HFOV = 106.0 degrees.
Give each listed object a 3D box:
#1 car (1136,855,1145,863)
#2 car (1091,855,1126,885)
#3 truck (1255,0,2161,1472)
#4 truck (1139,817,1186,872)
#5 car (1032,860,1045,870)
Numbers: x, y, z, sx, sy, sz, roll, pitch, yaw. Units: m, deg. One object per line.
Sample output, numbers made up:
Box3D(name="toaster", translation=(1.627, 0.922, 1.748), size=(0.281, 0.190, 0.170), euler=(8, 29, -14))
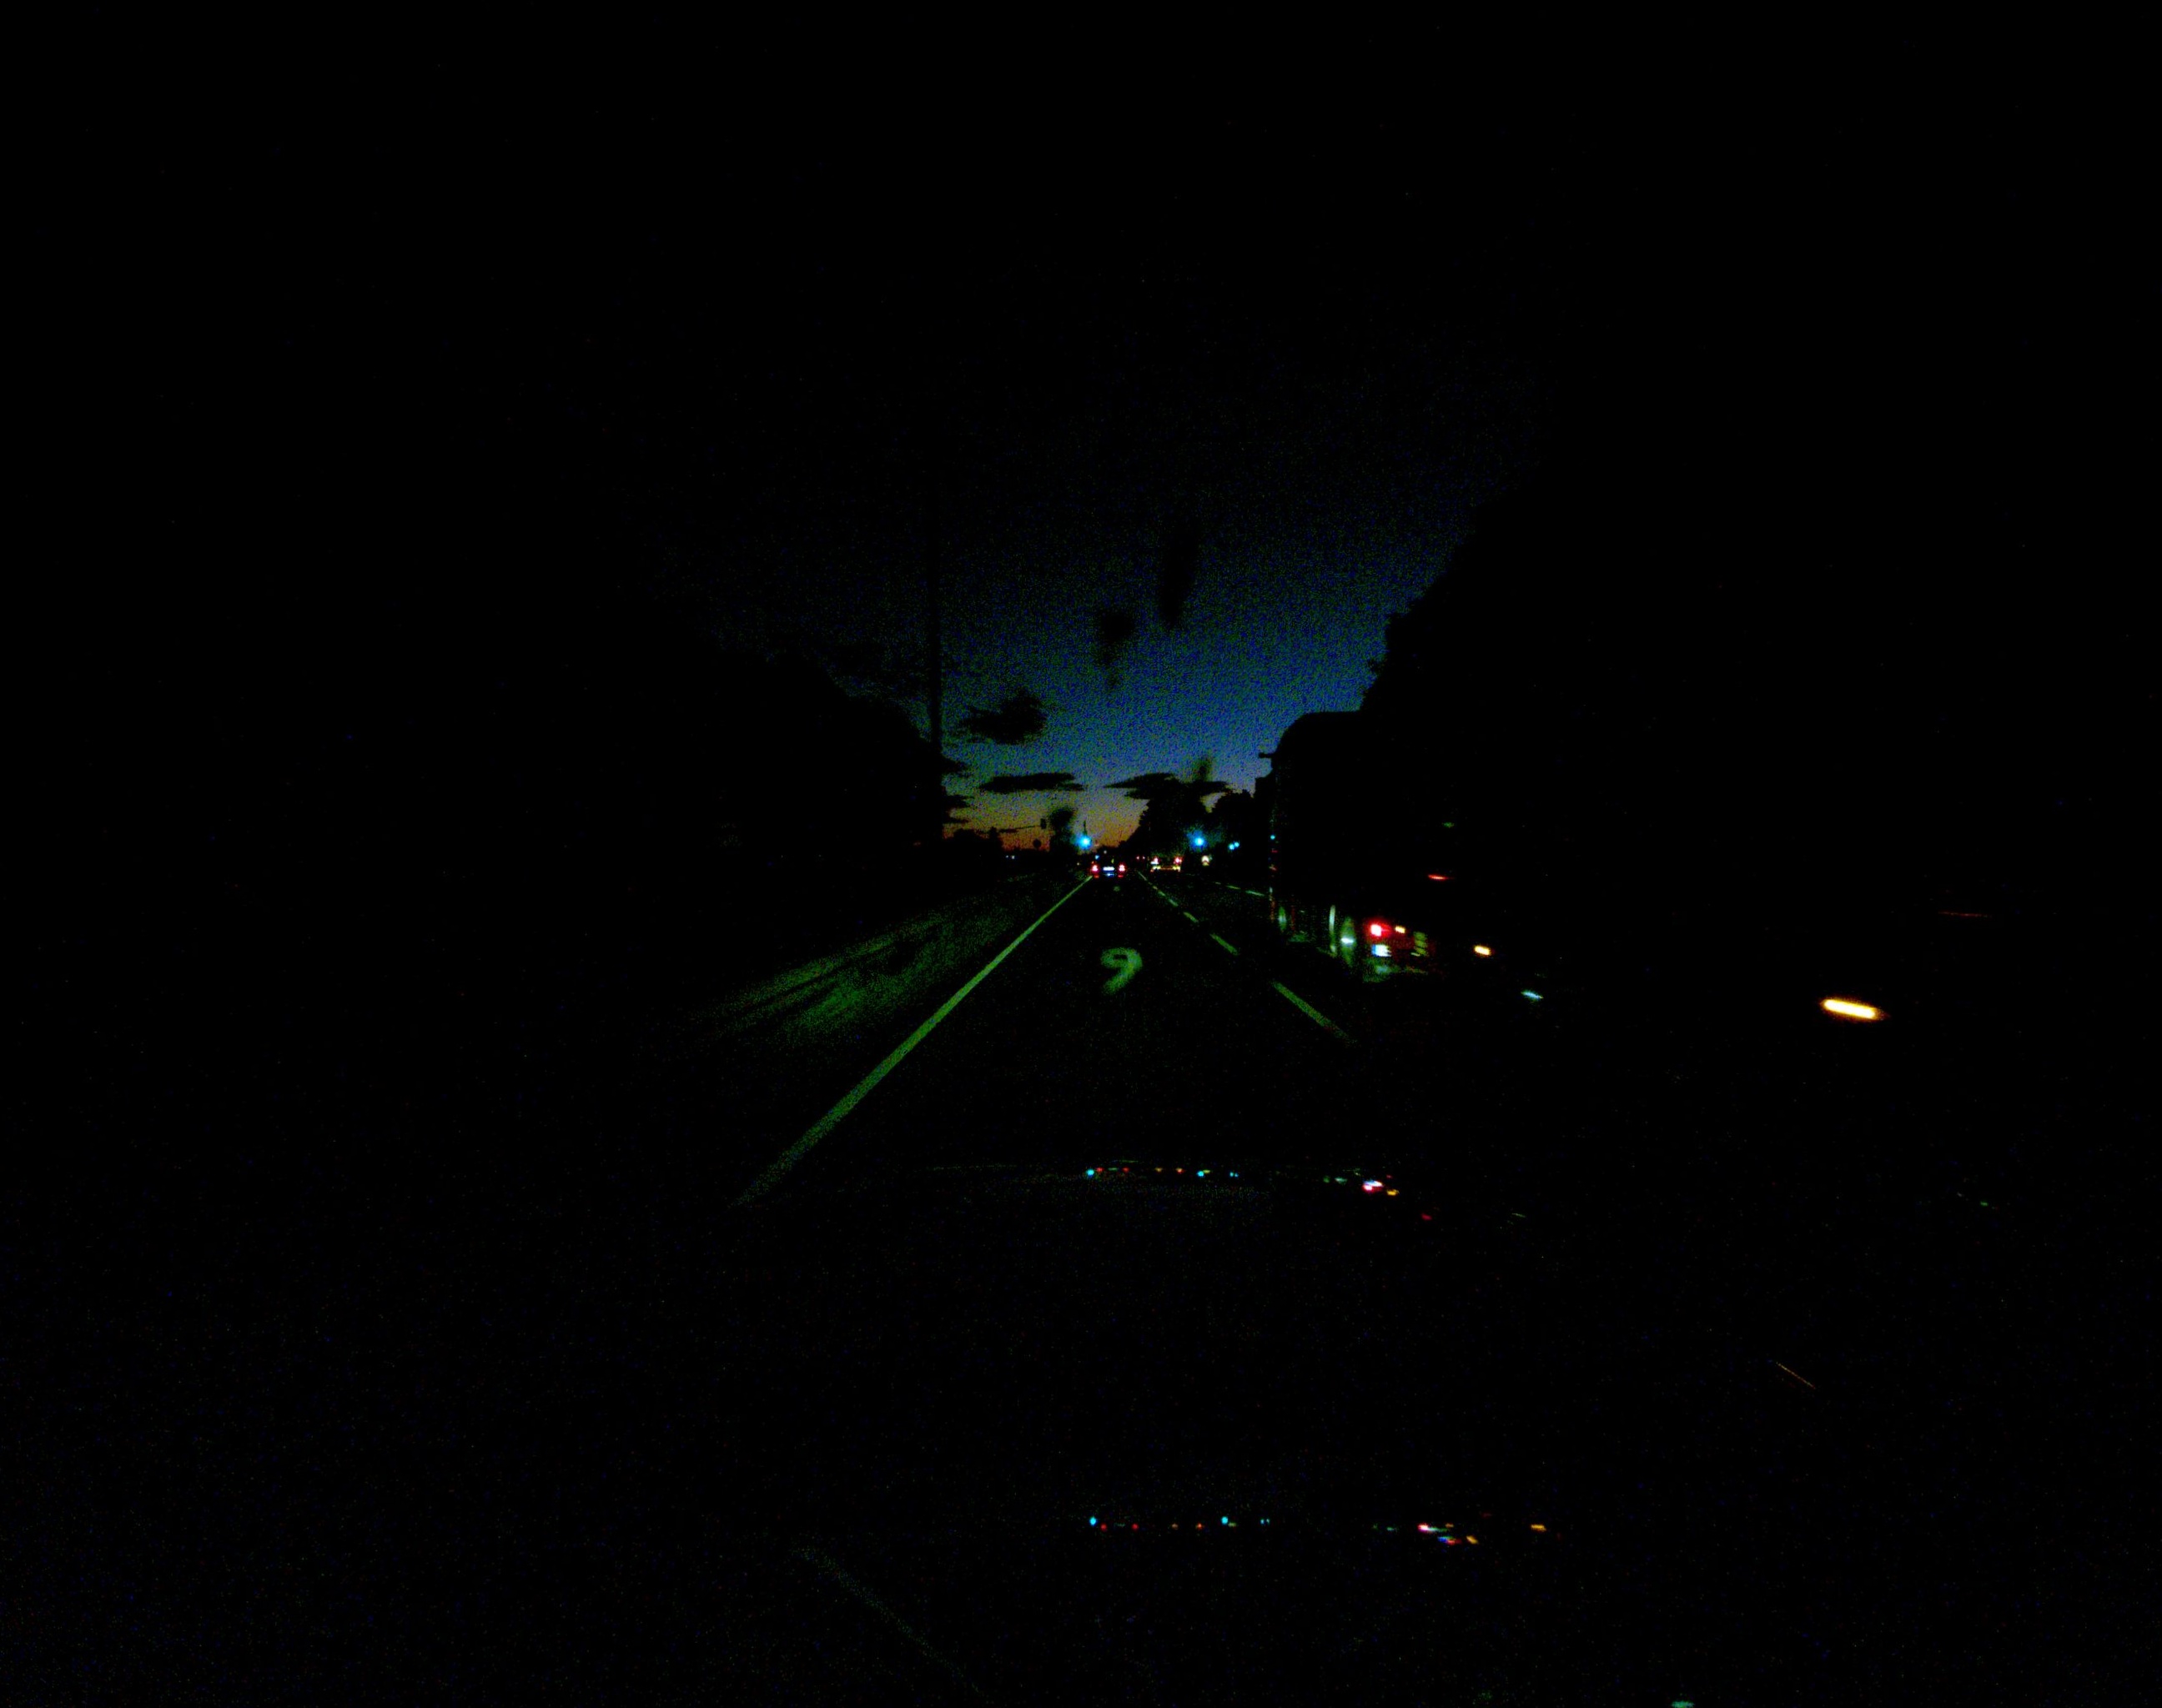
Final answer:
Box3D(name="car", translation=(11.954, 0.983, 164.487), size=(1.689, 1.452, 3.915), euler=(-1, 0, 1))
Box3D(name="car", translation=(1.416, 0.777, 42.016), size=(1.689, 1.452, 3.915), euler=(-1, 0, 1))
Box3D(name="truck", translation=(4.138, -0.628, 8.010), size=(2.676, 4.106, 13.151), euler=(-1, 0, 3))
Box3D(name="truck", translation=(6.563, -0.696, 67.173), size=(2.872, 4.106, 12.687), euler=(-1, 0, 2))
Box3D(name="car", translation=(-6.497, 1.676, 124.004), size=(1.599, 1.330, 3.941), euler=(-3, 0, 1))
